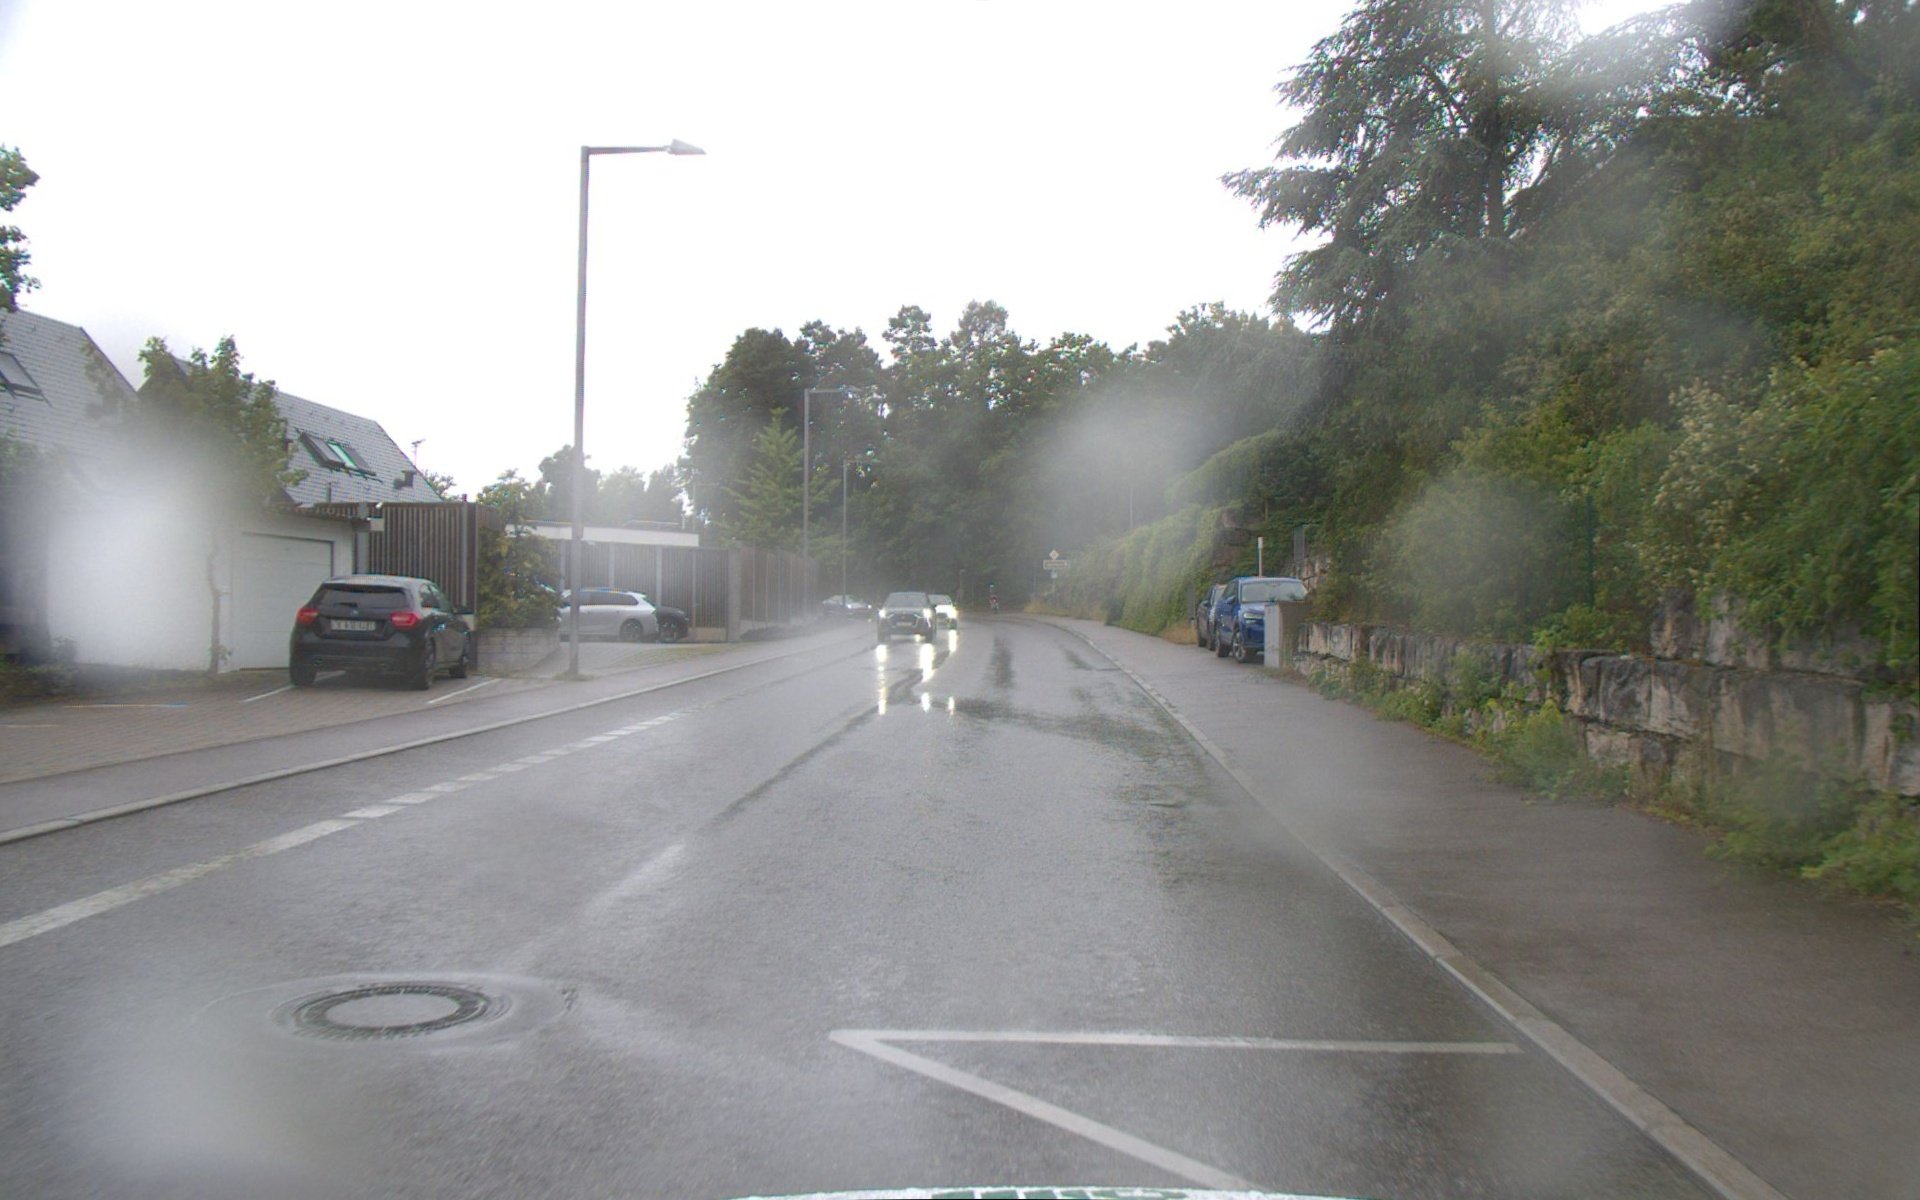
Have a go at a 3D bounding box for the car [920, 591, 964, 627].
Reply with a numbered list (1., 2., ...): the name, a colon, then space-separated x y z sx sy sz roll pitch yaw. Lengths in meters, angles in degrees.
1. car: -0.761 0.367 71.016 1.809 1.486 4.267 1 0 0

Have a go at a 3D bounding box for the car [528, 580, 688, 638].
1. car: -10.324 0.271 48.619 4.239 1.629 1.817 1 0 -33

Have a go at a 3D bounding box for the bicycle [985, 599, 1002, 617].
1. bicycle: 2.039 0.496 101.667 0.519 1.104 1.612 1 0 -18

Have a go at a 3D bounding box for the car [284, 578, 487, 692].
1. car: -7.960 0.441 23.304 1.799 1.430 4.253 1 0 -7

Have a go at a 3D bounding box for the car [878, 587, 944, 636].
1. car: -1.537 0.346 52.917 1.812 1.495 3.700 1 0 2

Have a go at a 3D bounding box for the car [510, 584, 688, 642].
1. car: -9.928 0.377 45.603 4.485 1.467 1.738 2 -1 -37

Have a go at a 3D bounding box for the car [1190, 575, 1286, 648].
1. car: 6.655 0.263 39.938 1.772 1.590 4.012 -3 0 3

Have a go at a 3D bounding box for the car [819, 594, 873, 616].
1. car: -6.885 0.297 99.861 1.715 1.255 3.769 1 0 -31

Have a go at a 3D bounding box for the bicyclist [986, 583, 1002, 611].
1. bicyclist: 2.082 -0.185 101.560 0.709 1.643 0.900 1 0 -19

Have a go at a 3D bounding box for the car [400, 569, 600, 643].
1. car: -10.513 0.136 37.925 4.022 1.601 1.914 1 0 -41

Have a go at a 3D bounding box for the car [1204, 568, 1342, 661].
1. car: 6.333 0.275 33.939 1.953 1.699 4.544 -3 0 1
